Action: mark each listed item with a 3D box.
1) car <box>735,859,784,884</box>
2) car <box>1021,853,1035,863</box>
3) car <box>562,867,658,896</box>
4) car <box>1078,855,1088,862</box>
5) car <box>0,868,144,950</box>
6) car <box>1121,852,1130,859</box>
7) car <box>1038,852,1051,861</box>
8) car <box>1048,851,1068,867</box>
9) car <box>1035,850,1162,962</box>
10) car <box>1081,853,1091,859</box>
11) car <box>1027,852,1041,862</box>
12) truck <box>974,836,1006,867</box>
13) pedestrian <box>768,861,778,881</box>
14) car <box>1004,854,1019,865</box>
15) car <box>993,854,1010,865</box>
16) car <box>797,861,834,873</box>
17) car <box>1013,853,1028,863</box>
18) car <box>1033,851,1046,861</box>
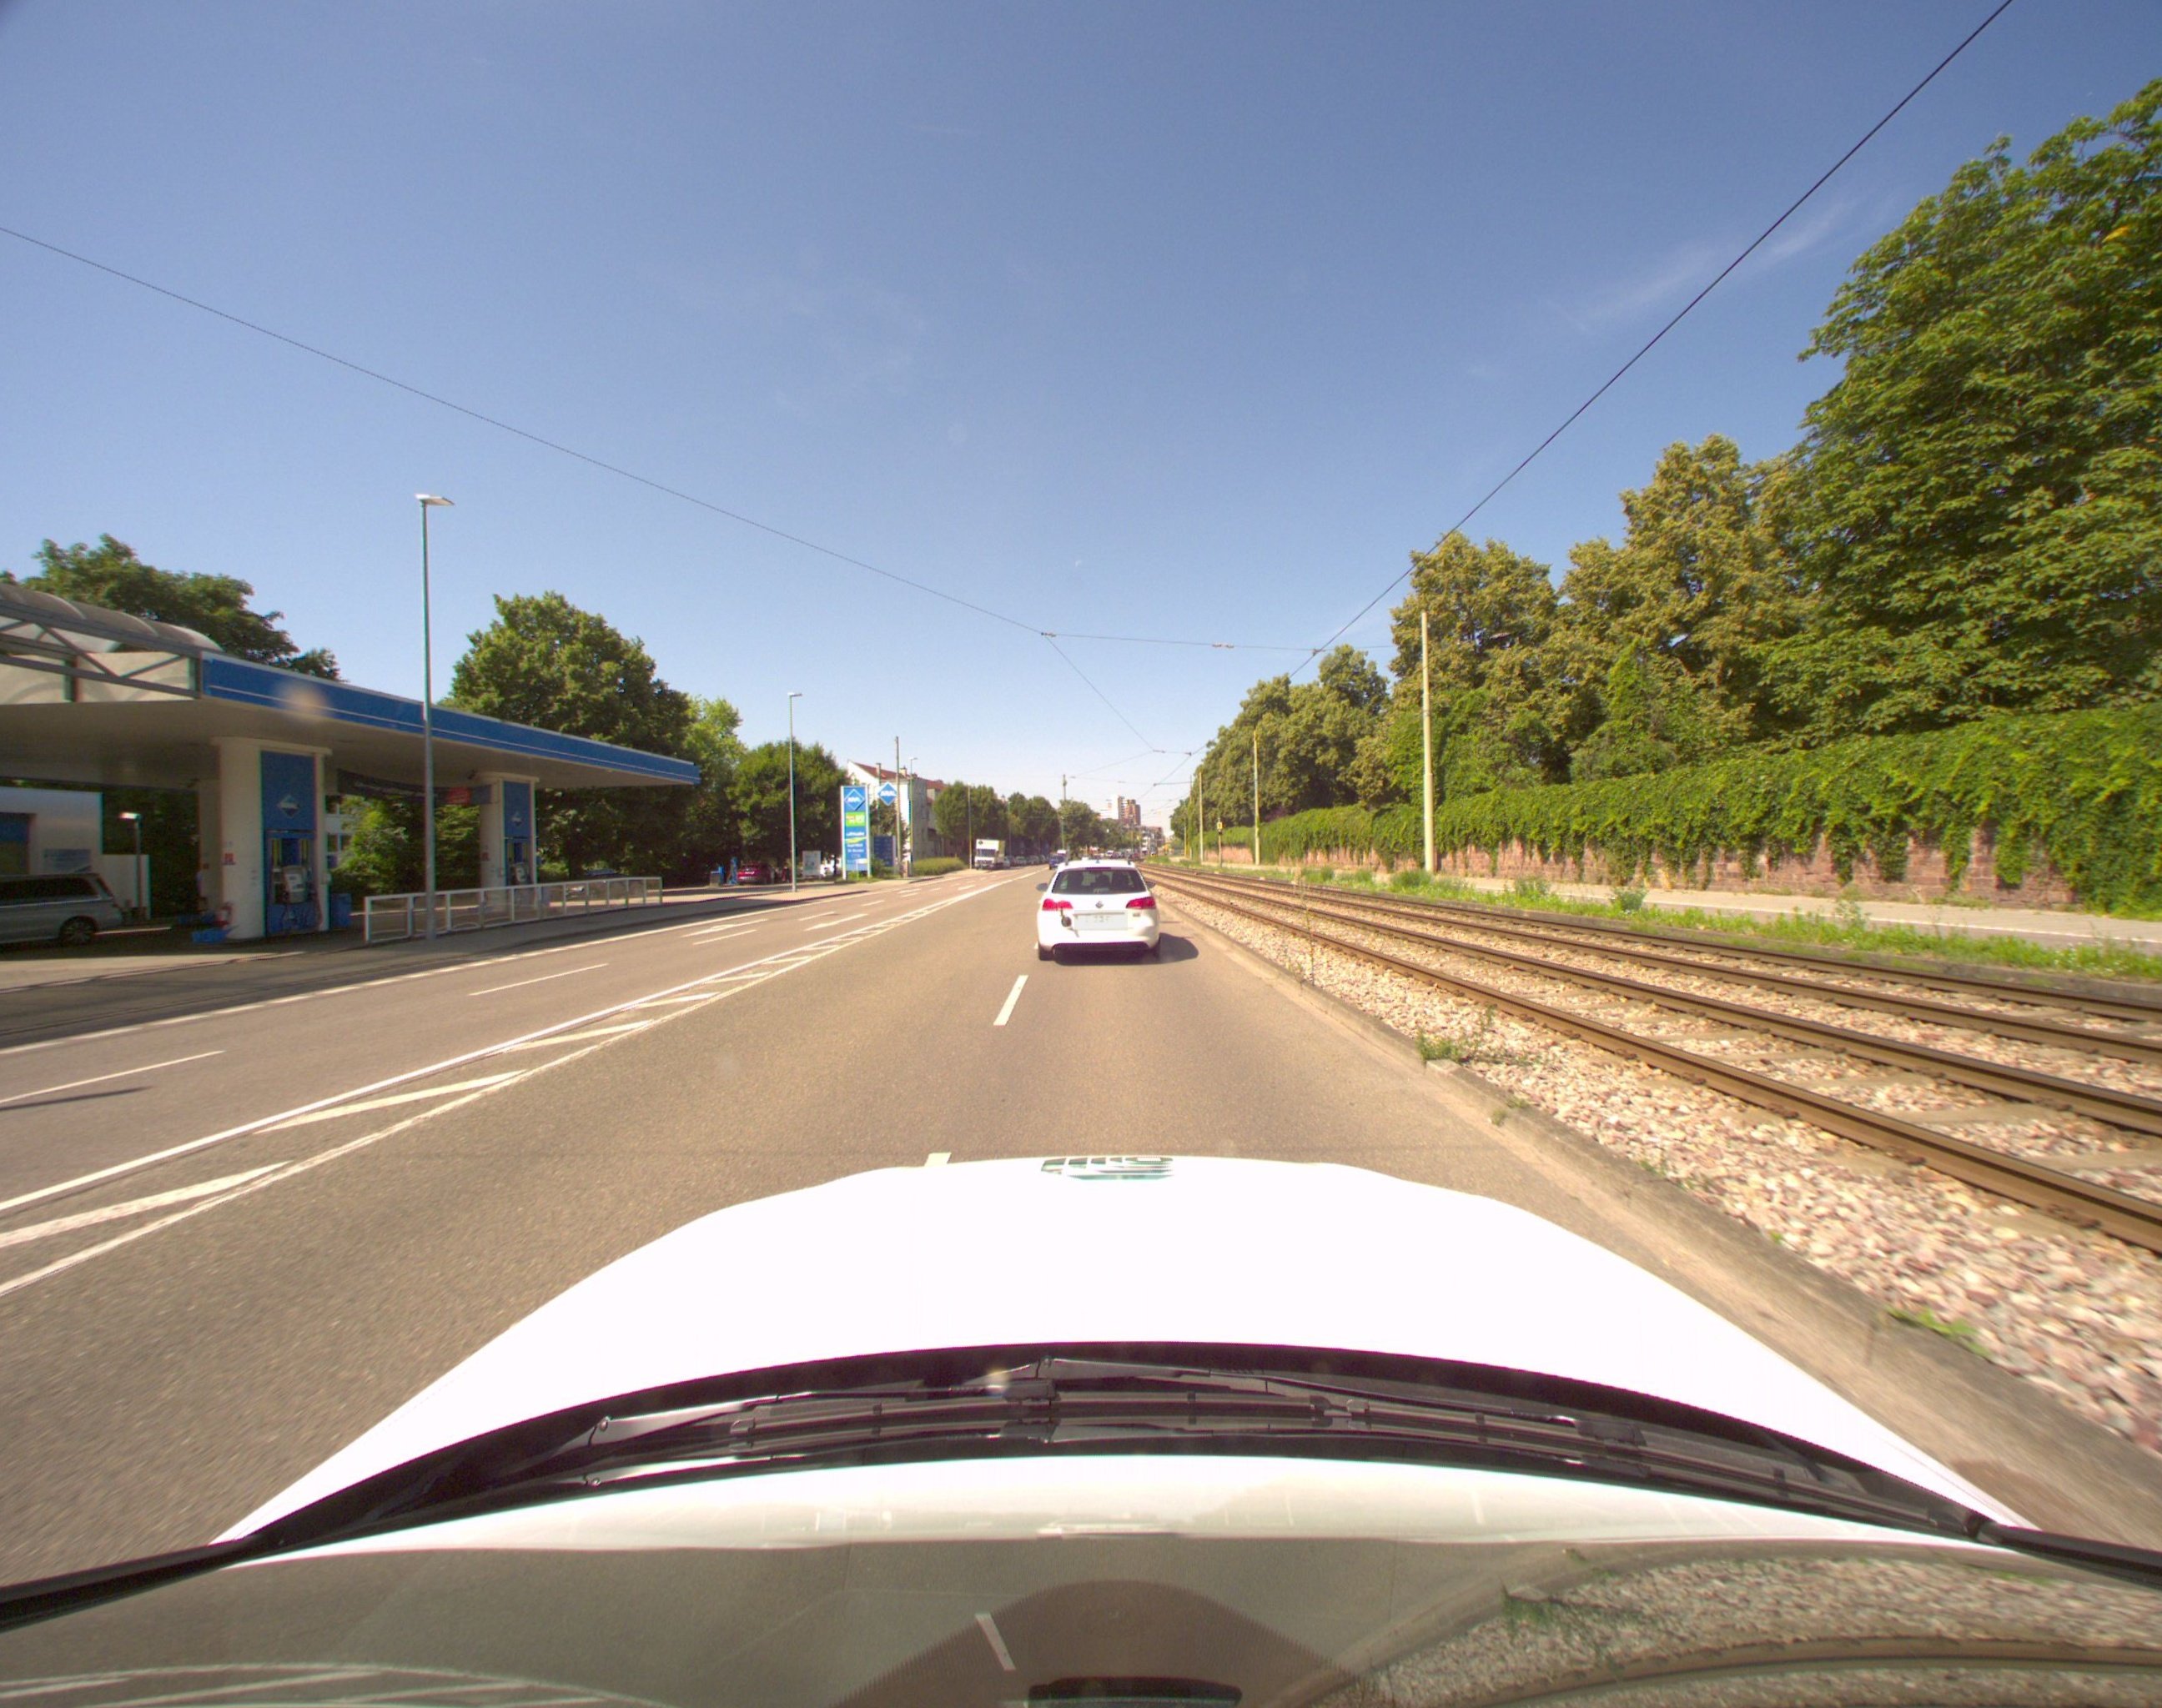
[{"bbox_3d":[-24.006,1.253,60.996,1.793,1.569,4.518,-2,2,0],"label":"car"},{"bbox_3d":[-8.630,0.651,133.551,1.715,1.474,4.719,0,0,4],"label":"car"},{"bbox_3d":[-25.400,1.447,44.077,1.783,1.345,4.267,-2,0,24],"label":"car"},{"bbox_3d":[0.392,0.924,169.112,1.650,1.420,4.317,-4,0,6],"label":"car"},{"bbox_3d":[-25.349,1.305,18.232,1.838,1.781,5.963,-2,0,-1],"label":"car"},{"bbox_3d":[10.707,0.325,196.351,1.790,1.507,4.010,-1,0,8],"label":"car"},{"bbox_3d":[-6.687,0.468,150.482,1.681,1.474,4.056,1,0,7],"label":"car"},{"bbox_3d":[-2.287,0.486,81.982,1.794,1.507,4.002,-1,1,2],"label":"car"},{"bbox_3d":[0.268,0.679,13.065,1.685,1.451,4.459,0,0,1],"label":"car"},{"bbox_3d":[1.214,0.502,199.523,1.688,1.417,4.014,-2,0,12],"label":"car"},{"bbox_3d":[-8.023,0.467,139.514,1.709,1.625,4.319,0,0,5],"label":"car"},{"bbox_3d":[-10.649,-0.262,96.266,2.657,3.530,8.592,0,0,1],"label":"truck"},{"bbox_3d":[-23.235,1.255,61.486,0.497,1.481,0.500,-2,0,0],"label":"pedestrian"},{"bbox_3d":[-9.888,0.796,116.254,1.724,1.552,4.320,0,0,2],"label":"car"},{"bbox_3d":[-10.600,0.724,109.307,1.751,1.429,4.282,0,0,1],"label":"car"},{"bbox_3d":[-30.092,1.495,92.459,3.627,1.205,1.580,-2,0,11],"label":"car"},{"bbox_3d":[-9.349,0.673,126.891,1.773,1.483,4.859,0,0,2],"label":"car"},{"bbox_3d":[-7.336,0.401,145.027,1.761,1.723,4.875,0,0,4],"label":"car"}]
